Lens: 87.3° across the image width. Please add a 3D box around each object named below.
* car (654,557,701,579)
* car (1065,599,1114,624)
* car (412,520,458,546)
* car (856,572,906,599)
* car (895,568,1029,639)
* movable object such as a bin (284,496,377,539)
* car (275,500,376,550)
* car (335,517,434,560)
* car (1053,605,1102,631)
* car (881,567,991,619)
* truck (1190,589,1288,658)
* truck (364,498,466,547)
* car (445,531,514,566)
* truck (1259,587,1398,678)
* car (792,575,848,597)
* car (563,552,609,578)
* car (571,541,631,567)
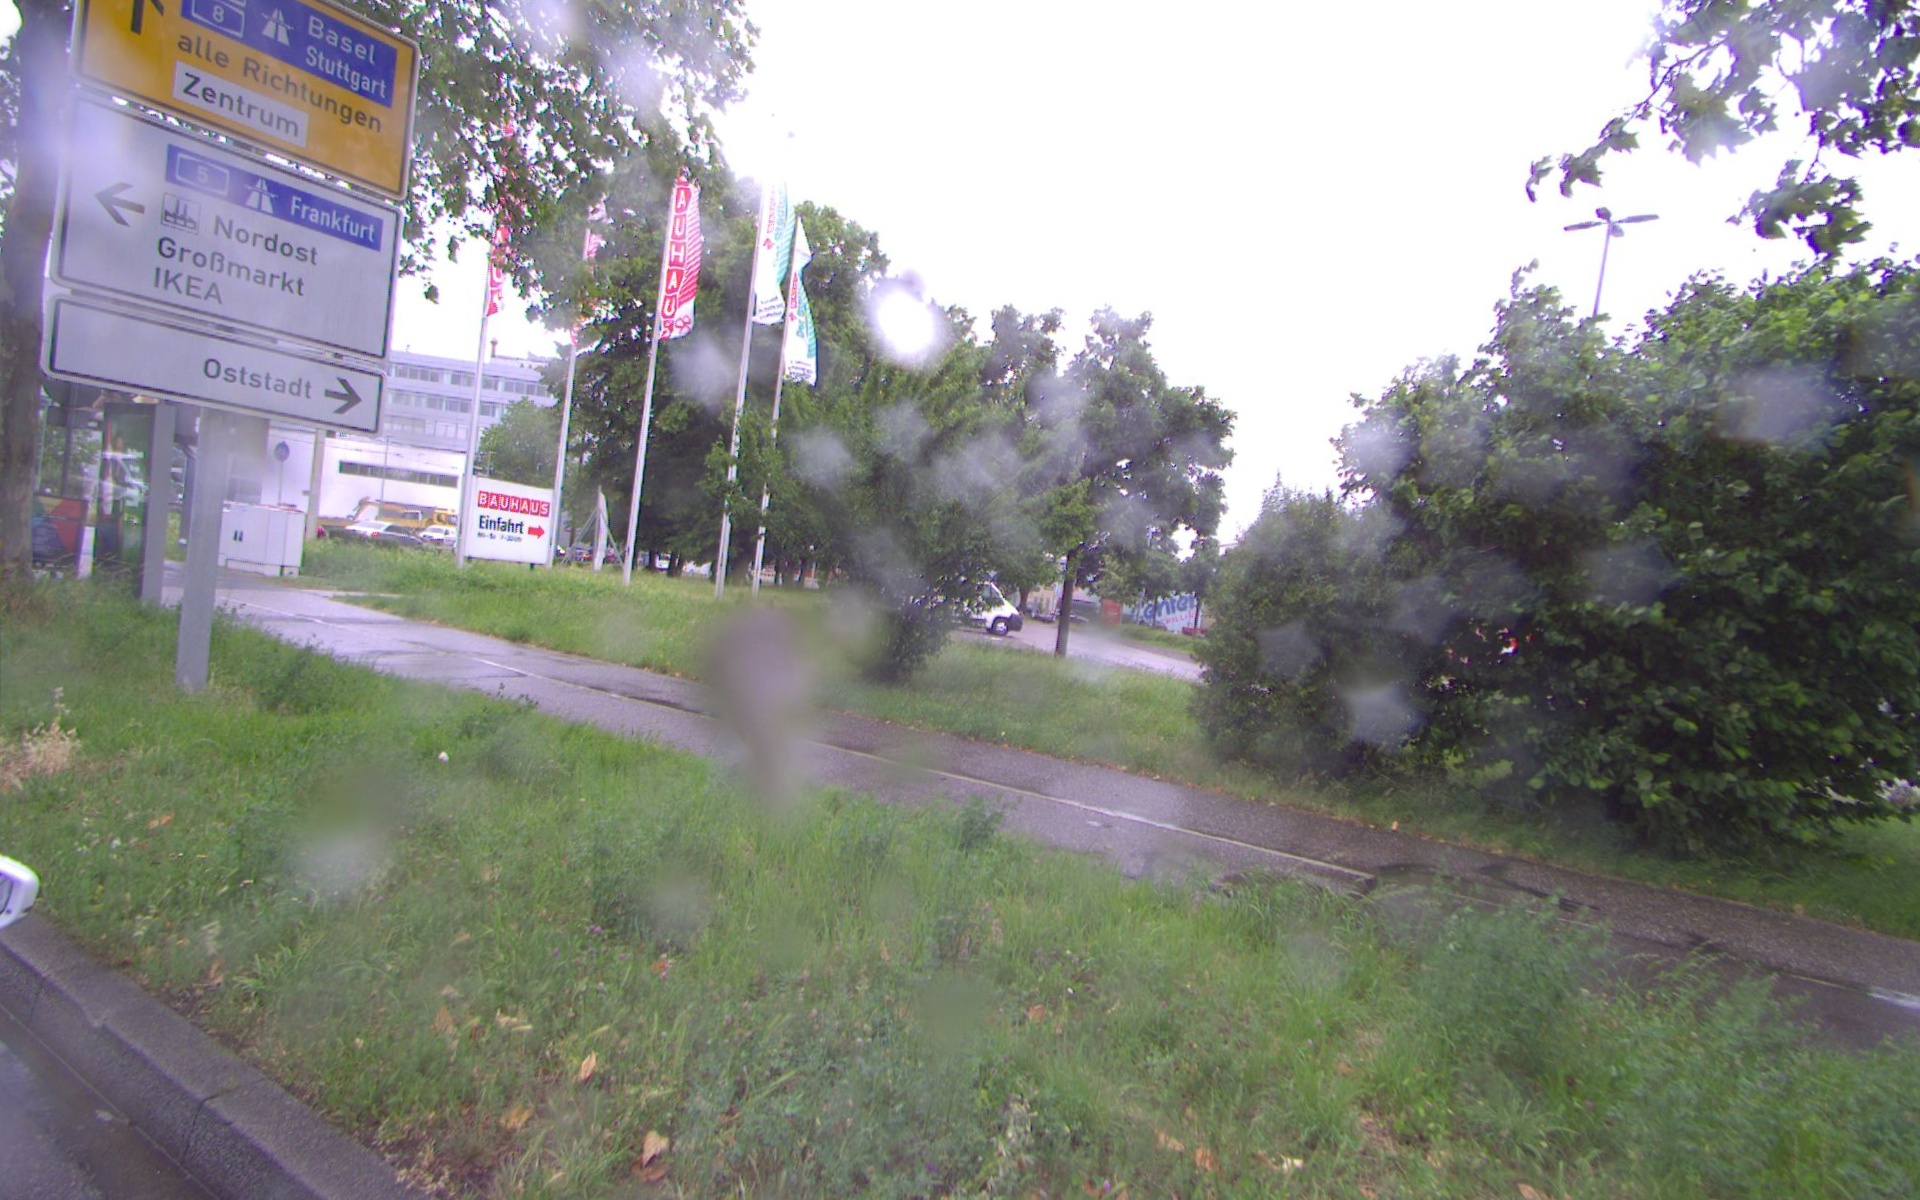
[{"bbox_3d":[-27.357,-3.055,97.410,1.892,1.606,4.625,6,0,20],"label":"car"},{"bbox_3d":[13.409,1.195,104.172,4.613,2.039,1.999,7,1,1],"label":"car"},{"bbox_3d":[-46.209,-5.862,88.582,1.710,1.746,4.243,8,-1,-2],"label":"car"},{"bbox_3d":[-7.843,-1.438,100.586,4.670,2.241,1.964,6,1,-2],"label":"car"},{"bbox_3d":[0.036,0.145,40.912,5.015,2.232,2.188,7,1,-9],"label":"car"},{"bbox_3d":[-60.576,-7.915,97.008,6.601,3.034,3.324,7,1,-4],"label":"movable object such as a bin"},{"bbox_3d":[-26.418,-3.088,42.054,1.647,1.508,3.817,7,-1,0],"label":"car"},{"bbox_3d":[-27.308,-2.876,47.940,1.892,1.509,4.828,6,0,-2],"label":"car"},{"bbox_3d":[11.849,1.846,101.667,4.612,2.038,2.001,7,0,3],"label":"car"},{"bbox_3d":[-1.379,-0.405,57.637,5.955,2.232,2.190,7,1,-2],"label":"car"},{"bbox_3d":[16.532,1.335,60.338,2.507,3.511,9.397,8,0,-2],"label":"truck"},{"bbox_3d":[-52.662,-7.430,97.331,7.747,3.552,3.325,7,1,-4],"label":"truck"},{"bbox_3d":[-28.085,-2.988,58.988,1.892,1.606,4.623,6,0,-3],"label":"car"},{"bbox_3d":[16.715,1.337,46.396,2.508,3.513,8.008,8,0,-4],"label":"truck"},{"bbox_3d":[-15.403,-1.575,111.063,5.853,1.753,2.276,6,1,-3],"label":"car"},{"bbox_3d":[-28.677,-2.651,77.261,1.892,1.606,4.623,6,0,-4],"label":"car"},{"bbox_3d":[-34.832,-4.450,97.563,4.967,1.674,1.882,7,-2,0],"label":"car"}]
